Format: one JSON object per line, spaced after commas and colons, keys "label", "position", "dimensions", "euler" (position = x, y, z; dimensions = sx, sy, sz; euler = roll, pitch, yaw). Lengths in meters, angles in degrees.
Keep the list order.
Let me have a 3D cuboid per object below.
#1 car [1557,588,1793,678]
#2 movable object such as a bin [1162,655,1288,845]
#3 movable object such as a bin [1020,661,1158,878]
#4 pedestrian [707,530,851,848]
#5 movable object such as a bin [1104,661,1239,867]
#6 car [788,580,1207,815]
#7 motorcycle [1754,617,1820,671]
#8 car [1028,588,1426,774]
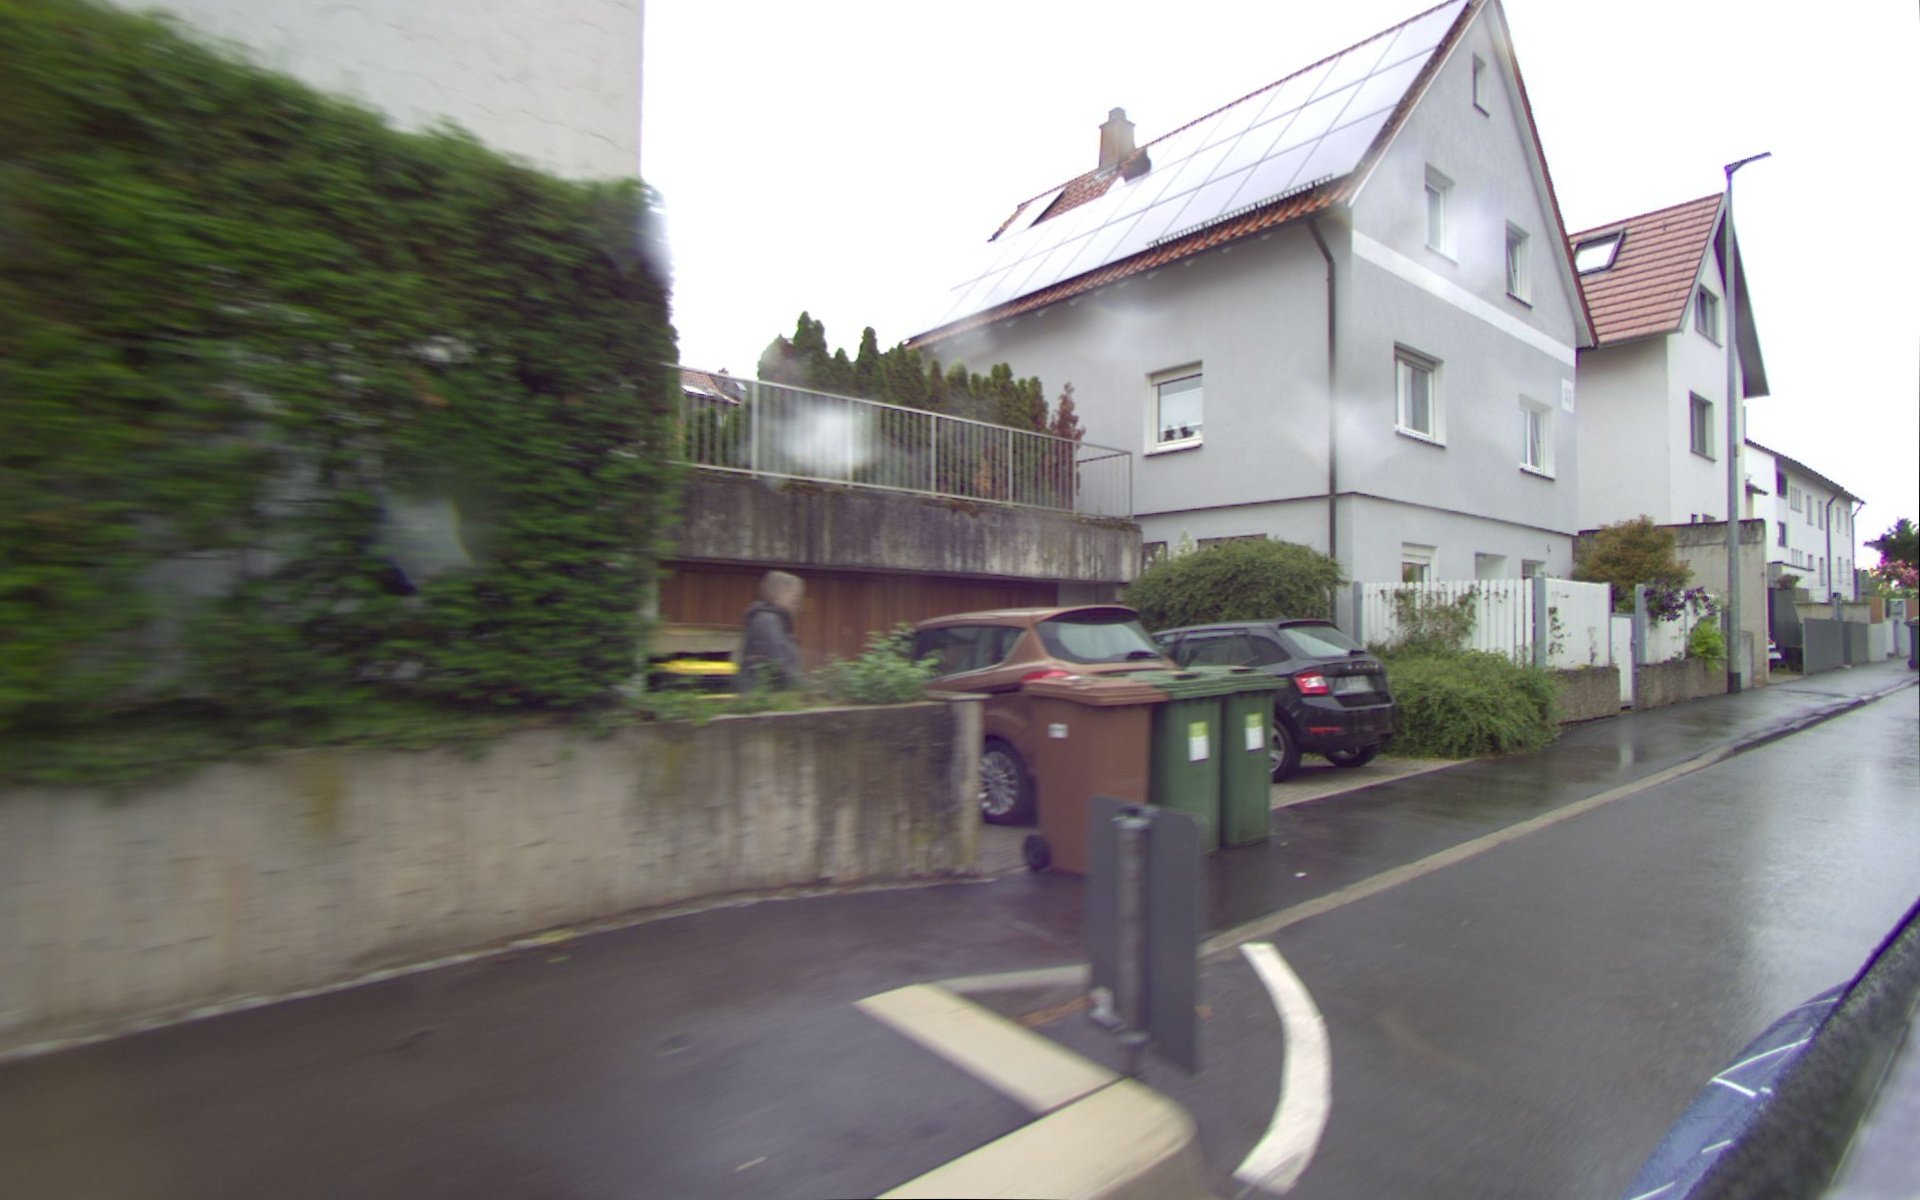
{"label": "car", "position": [14.300, 0.580, 20.358], "dimensions": [1.788, 1.603, 3.592], "euler": [0, 1, -42]}
{"label": "movable object such as a bin", "position": [1.663, 0.904, 6.360], "dimensions": [0.528, 1.090, 0.568], "euler": [1, -2, -42]}
{"label": "movable object such as a bin", "position": [0.715, 0.901, 5.644], "dimensions": [0.514, 1.090, 0.568], "euler": [1, -2, -42]}
{"label": "pedestrian", "position": [-1.078, 0.495, 6.018], "dimensions": [0.608, 1.748, 0.629], "euler": [1, -2, -40]}
{"label": "movable object such as a bin", "position": [1.236, 0.918, 5.932], "dimensions": [0.528, 1.090, 0.568], "euler": [1, -2, -42]}
{"label": "car", "position": [0.142, 0.624, 8.418], "dimensions": [1.552, 1.529, 3.484], "euler": [1, 0, -40]}
{"label": "motorcycle", "position": [16.793, 0.868, 20.567], "dimensions": [0.547, 1.025, 1.147], "euler": [0, 0, 11]}
{"label": "car", "position": [2.470, 0.861, 10.009], "dimensions": [1.552, 1.501, 3.448], "euler": [1, -7, -40]}
